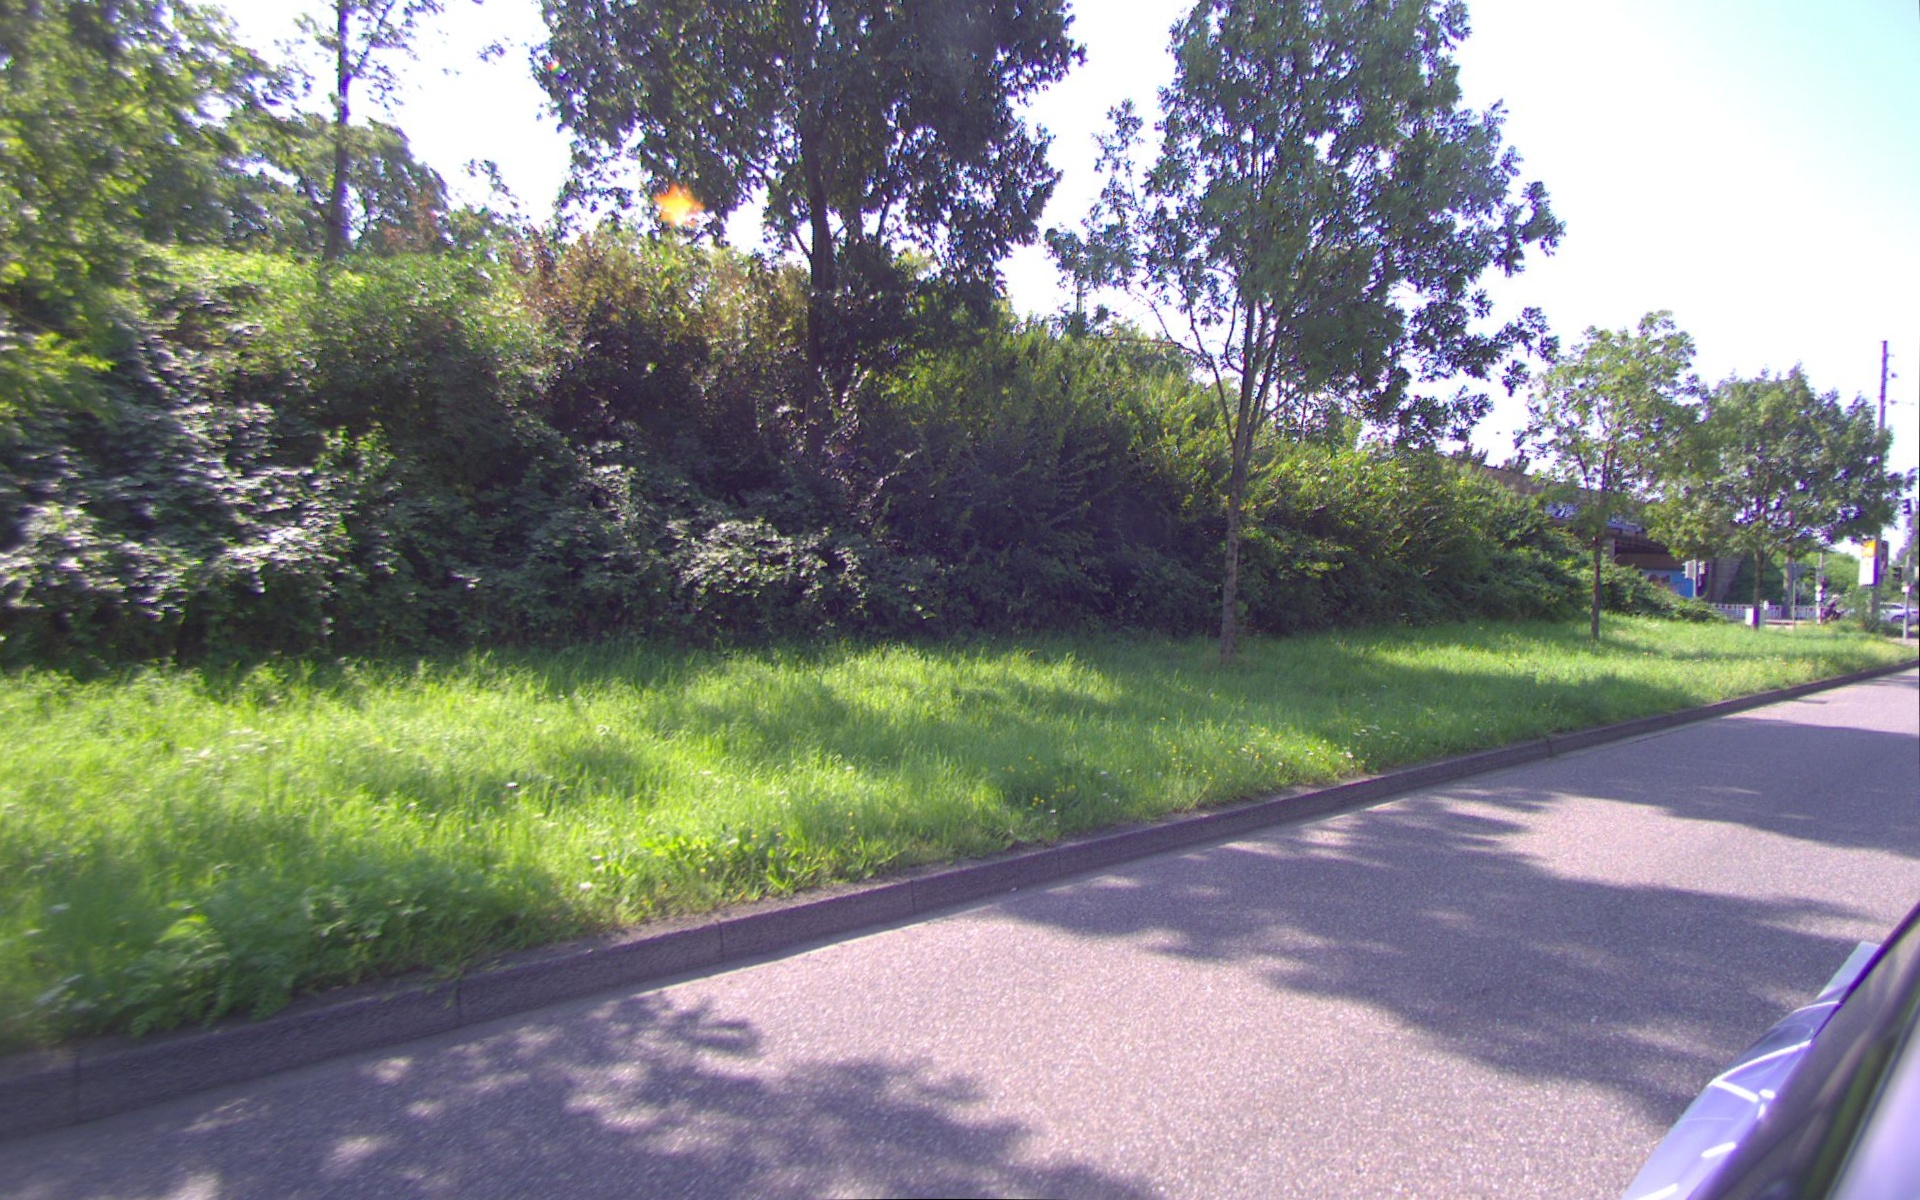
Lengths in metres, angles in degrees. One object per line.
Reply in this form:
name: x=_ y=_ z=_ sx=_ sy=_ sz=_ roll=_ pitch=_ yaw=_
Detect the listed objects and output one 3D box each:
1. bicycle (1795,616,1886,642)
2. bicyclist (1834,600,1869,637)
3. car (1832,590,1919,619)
bicycle: x=41.331 y=1.355 z=47.554 sx=2.943 sy=1.062 sz=1.226 roll=2 pitch=1 yaw=22
bicyclist: x=41.715 y=0.855 z=47.366 sx=0.959 sy=1.679 sz=0.707 roll=2 pitch=0 yaw=22
car: x=55.818 y=0.253 z=60.979 sx=1.807 sy=1.460 sz=4.605 roll=1 pitch=3 yaw=-38
